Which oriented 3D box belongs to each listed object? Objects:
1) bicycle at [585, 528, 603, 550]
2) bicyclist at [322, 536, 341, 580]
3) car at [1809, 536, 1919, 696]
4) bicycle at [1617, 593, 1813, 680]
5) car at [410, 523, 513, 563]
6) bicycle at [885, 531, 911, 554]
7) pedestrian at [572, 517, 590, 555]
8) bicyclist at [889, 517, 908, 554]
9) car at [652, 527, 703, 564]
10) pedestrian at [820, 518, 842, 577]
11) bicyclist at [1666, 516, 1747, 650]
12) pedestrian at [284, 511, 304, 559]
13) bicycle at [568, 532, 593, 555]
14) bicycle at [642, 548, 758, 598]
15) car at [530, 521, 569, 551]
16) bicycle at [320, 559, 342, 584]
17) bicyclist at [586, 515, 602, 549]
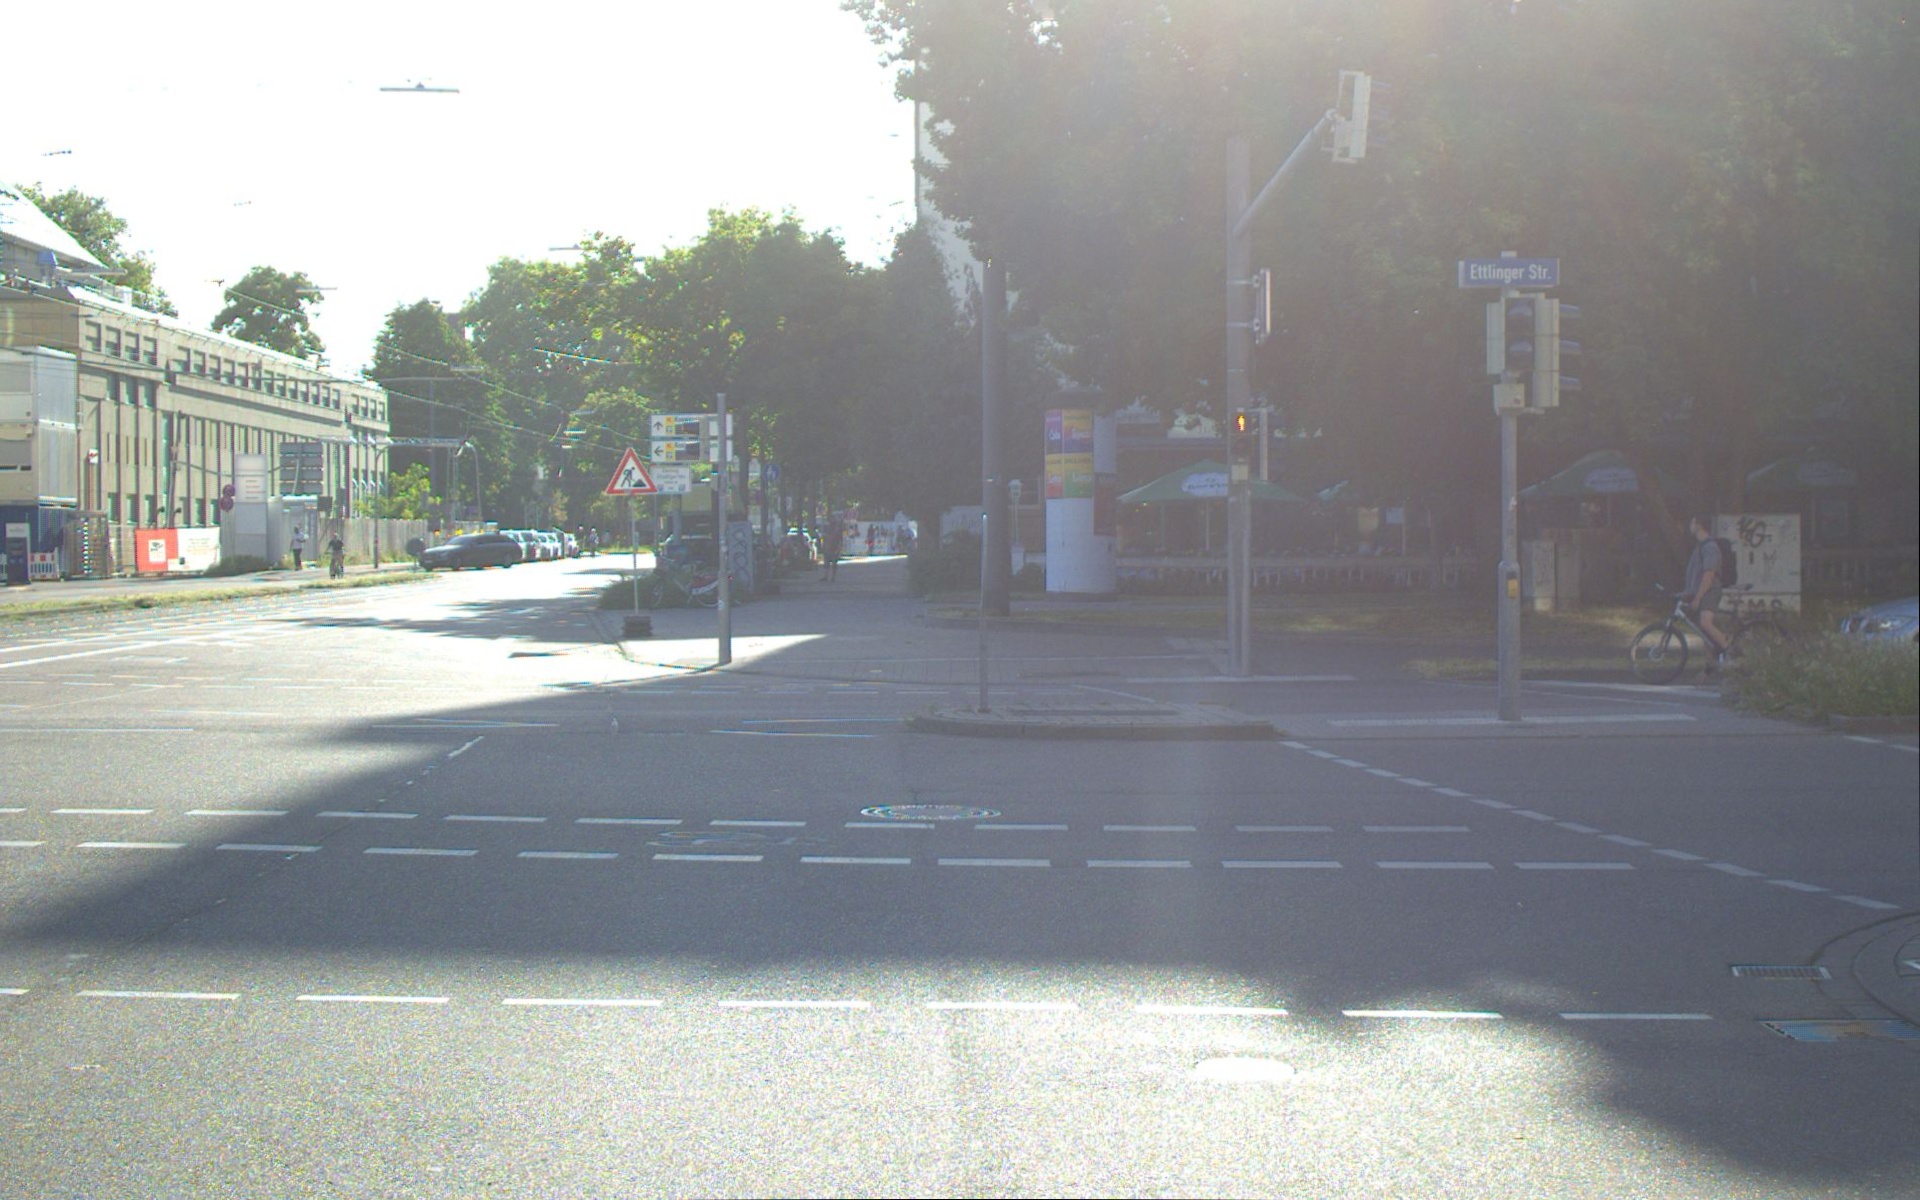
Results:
[{"bbox_3d":[-20.620,-3.459,193.787,0.750,1.201,3.108,1,1,-2],"label":"bicycle"},{"bbox_3d":[-21.652,-1.447,118.445,0.494,1.493,0.666,-1,1,2],"label":"bicyclist"},{"bbox_3d":[10.837,0.168,33.571,4.576,1.511,2.000,1,0,0],"label":"car"},{"bbox_3d":[7.973,0.382,36.378,1.944,0.886,0.718,1,0,6],"label":"bicycle"},{"bbox_3d":[-20.759,-2.367,143.179,1.998,1.593,3.992,0,2,36],"label":"car"},{"bbox_3d":[-3.402,-3.160,188.918,0.890,1.215,2.794,1,1,-12],"label":"bicycle"},{"bbox_3d":[-20.770,-3.524,188.294,0.751,2.056,1.050,1,0,5],"label":"pedestrian"},{"bbox_3d":[-3.378,-3.555,188.806,0.890,2.007,0.749,1,0,-12],"label":"bicyclist"},{"bbox_3d":[-12.739,-2.436,155.081,1.993,1.634,4.000,1,1,-1],"label":"car"},{"bbox_3d":[-3.667,-1.494,97.699,0.576,1.683,0.585,-1,1,-8],"label":"pedestrian"},{"bbox_3d":[7.891,-0.182,36.377,0.747,1.401,0.702,1,0,6],"label":"bicyclist"},{"bbox_3d":[-26.209,-2.550,135.230,0.589,1.883,0.477,1,0,32],"label":"pedestrian"},{"bbox_3d":[-20.791,-3.077,188.252,0.751,1.201,3.107,1,1,5],"label":"bicycle"},{"bbox_3d":[-5.089,-0.529,67.221,2.244,0.937,0.654,-1,1,-5],"label":"bicycle"},{"bbox_3d":[-23.235,-3.611,194.692,1.993,1.638,4.001,-1,1,-4],"label":"car"},{"bbox_3d":[-21.650,-0.995,118.409,0.494,0.836,1.156,-1,1,2],"label":"bicycle"},{"bbox_3d":[-20.614,-3.843,193.663,0.750,1.913,1.215,1,0,-2],"label":"bicyclist"}]
